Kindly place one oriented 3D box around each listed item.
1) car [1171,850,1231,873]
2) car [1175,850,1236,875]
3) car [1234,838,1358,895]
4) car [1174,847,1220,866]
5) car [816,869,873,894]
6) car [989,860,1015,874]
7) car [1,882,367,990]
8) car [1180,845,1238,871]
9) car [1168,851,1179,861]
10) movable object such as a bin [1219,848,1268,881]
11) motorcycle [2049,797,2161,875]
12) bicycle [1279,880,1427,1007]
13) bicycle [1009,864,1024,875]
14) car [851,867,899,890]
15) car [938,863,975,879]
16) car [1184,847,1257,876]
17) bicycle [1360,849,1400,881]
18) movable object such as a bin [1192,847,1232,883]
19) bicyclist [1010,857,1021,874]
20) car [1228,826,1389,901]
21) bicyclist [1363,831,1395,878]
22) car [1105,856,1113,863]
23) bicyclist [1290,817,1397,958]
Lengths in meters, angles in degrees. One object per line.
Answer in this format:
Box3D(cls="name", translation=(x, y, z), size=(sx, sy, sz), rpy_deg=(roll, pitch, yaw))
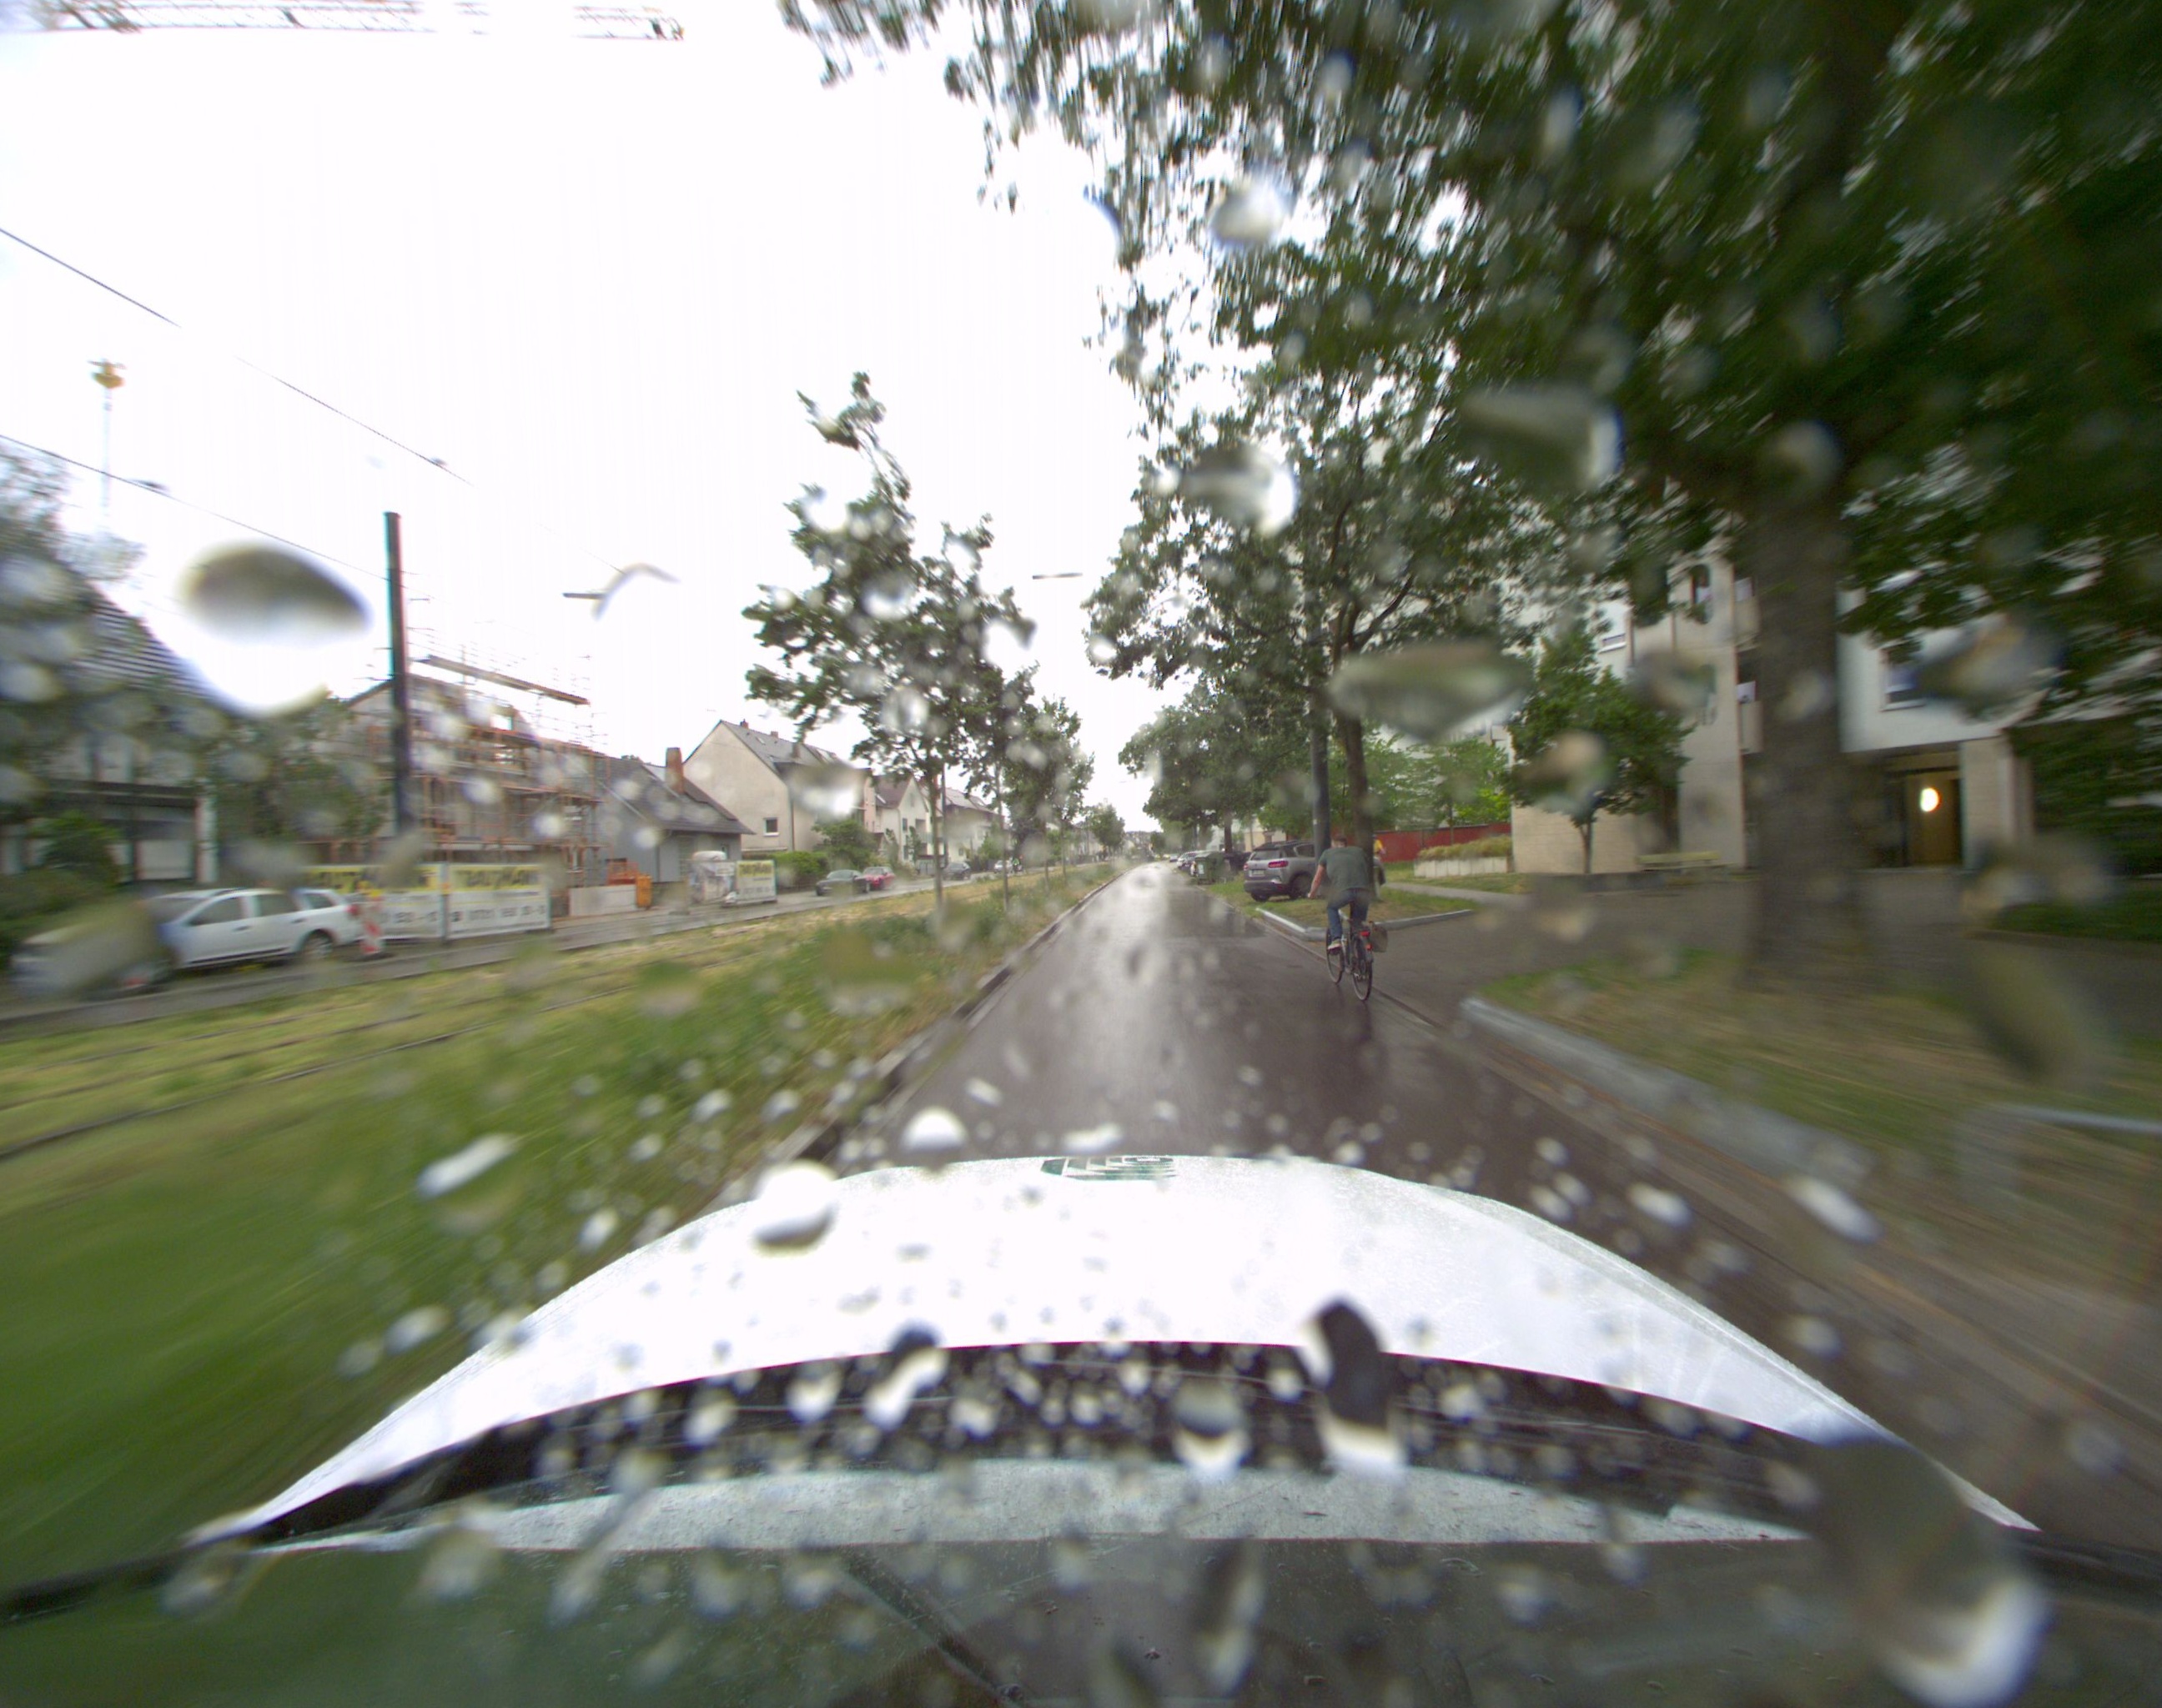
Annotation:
Box3D(cls="car", translation=(8.367, 0.516, 56.613), size=(4.056, 1.443, 1.569), rpy_deg=(-2, 0, -33))
Box3D(cls="car", translation=(8.091, 0.548, 52.714), size=(4.062, 1.443, 1.567), rpy_deg=(-2, 0, -40))
Box3D(cls="car", translation=(7.175, 0.398, 27.051), size=(3.901, 1.567, 1.715), rpy_deg=(-5, 1, -33))
Box3D(cls="car", translation=(10.543, 0.247, 74.027), size=(4.056, 1.513, 1.569), rpy_deg=(-2, 0, -33))
Box3D(cls="car", translation=(-12.787, 1.475, 44.264), size=(1.656, 1.244, 4.076), rpy_deg=(0, 0, 4))
Box3D(cls="car", translation=(-8.928, 1.420, 92.032), size=(1.886, 1.469, 4.697), rpy_deg=(0, 0, 7))
Box3D(cls="car", translation=(-16.204, 1.376, 15.148), size=(1.702, 1.542, 4.428), rpy_deg=(0, 0, 5))
Box3D(cls="car", translation=(9.367, 0.275, 59.519), size=(4.056, 1.703, 1.569), rpy_deg=(-2, 0, -33))
Box3D(cls="car", translation=(16.307, 0.328, 143.981), size=(1.824, 1.586, 4.005), rpy_deg=(-3, 0, 4))
Box3D(cls="movable object such as a bin", translation=(7.413, 0.469, 37.207), size=(1.686, 1.326, 1.393), rpy_deg=(-5, 0, -17))
Box3D(cls="motorcycle", translation=(18.326, -0.316, 13.843), size=(0.889, 1.288, 2.278), rpy_deg=(-3, 0, -34))
Box3D(cls="bicycle", translation=(2.897, 0.891, 9.013), size=(0.806, 1.096, 2.518), rpy_deg=(-3, 0, 2))
Box3D(cls="bicycle", translation=(-6.941, 1.648, 87.747), size=(1.014, 1.027, 3.200), rpy_deg=(-3, 0, 4))
Box3D(cls="car", translation=(-12.445, 1.452, 49.444), size=(1.666, 1.244, 3.860), rpy_deg=(0, 0, 5))
Box3D(cls="car", translation=(-10.689, 1.430, 70.122), size=(1.886, 1.244, 4.697), rpy_deg=(0, 0, 7))
Box3D(cls="car", translation=(8.074, 0.426, 47.064), size=(4.054, 1.519, 1.570), rpy_deg=(-2, 0, -31))
Box3D(cls="bicycle", translation=(10.484, 0.375, 28.644), size=(0.731, 1.056, 2.053), rpy_deg=(-3, 0, 4))
Box3D(cls="movable object such as a bin", translation=(5.932, 0.510, 37.003), size=(1.128, 1.457, 1.393), rpy_deg=(-8, 1, -17))
Box3D(cls="bicyclist", translation=(-7.002, 1.222, 86.998), size=(1.014, 1.685, 1.093), rpy_deg=(-3, 0, 4))
Box3D(cls="car", translation=(6.538, 0.232, 23.335), size=(4.160, 1.719, 1.982), rpy_deg=(-5, 1, -28))
Box3D(cls="bicyclist", translation=(10.473, 0.004, 28.665), size=(0.731, 1.594, 0.945), rpy_deg=(-3, 0, 4))
Box3D(cls="car", translation=(7.247, 1.321, 210.617), size=(1.834, 1.672, 4.005), rpy_deg=(-3, 0, 4))
Box3D(cls="bicyclist", translation=(2.869, 0.346, 9.016), size=(0.806, 1.433, 1.060), rpy_deg=(-3, 0, 2))
